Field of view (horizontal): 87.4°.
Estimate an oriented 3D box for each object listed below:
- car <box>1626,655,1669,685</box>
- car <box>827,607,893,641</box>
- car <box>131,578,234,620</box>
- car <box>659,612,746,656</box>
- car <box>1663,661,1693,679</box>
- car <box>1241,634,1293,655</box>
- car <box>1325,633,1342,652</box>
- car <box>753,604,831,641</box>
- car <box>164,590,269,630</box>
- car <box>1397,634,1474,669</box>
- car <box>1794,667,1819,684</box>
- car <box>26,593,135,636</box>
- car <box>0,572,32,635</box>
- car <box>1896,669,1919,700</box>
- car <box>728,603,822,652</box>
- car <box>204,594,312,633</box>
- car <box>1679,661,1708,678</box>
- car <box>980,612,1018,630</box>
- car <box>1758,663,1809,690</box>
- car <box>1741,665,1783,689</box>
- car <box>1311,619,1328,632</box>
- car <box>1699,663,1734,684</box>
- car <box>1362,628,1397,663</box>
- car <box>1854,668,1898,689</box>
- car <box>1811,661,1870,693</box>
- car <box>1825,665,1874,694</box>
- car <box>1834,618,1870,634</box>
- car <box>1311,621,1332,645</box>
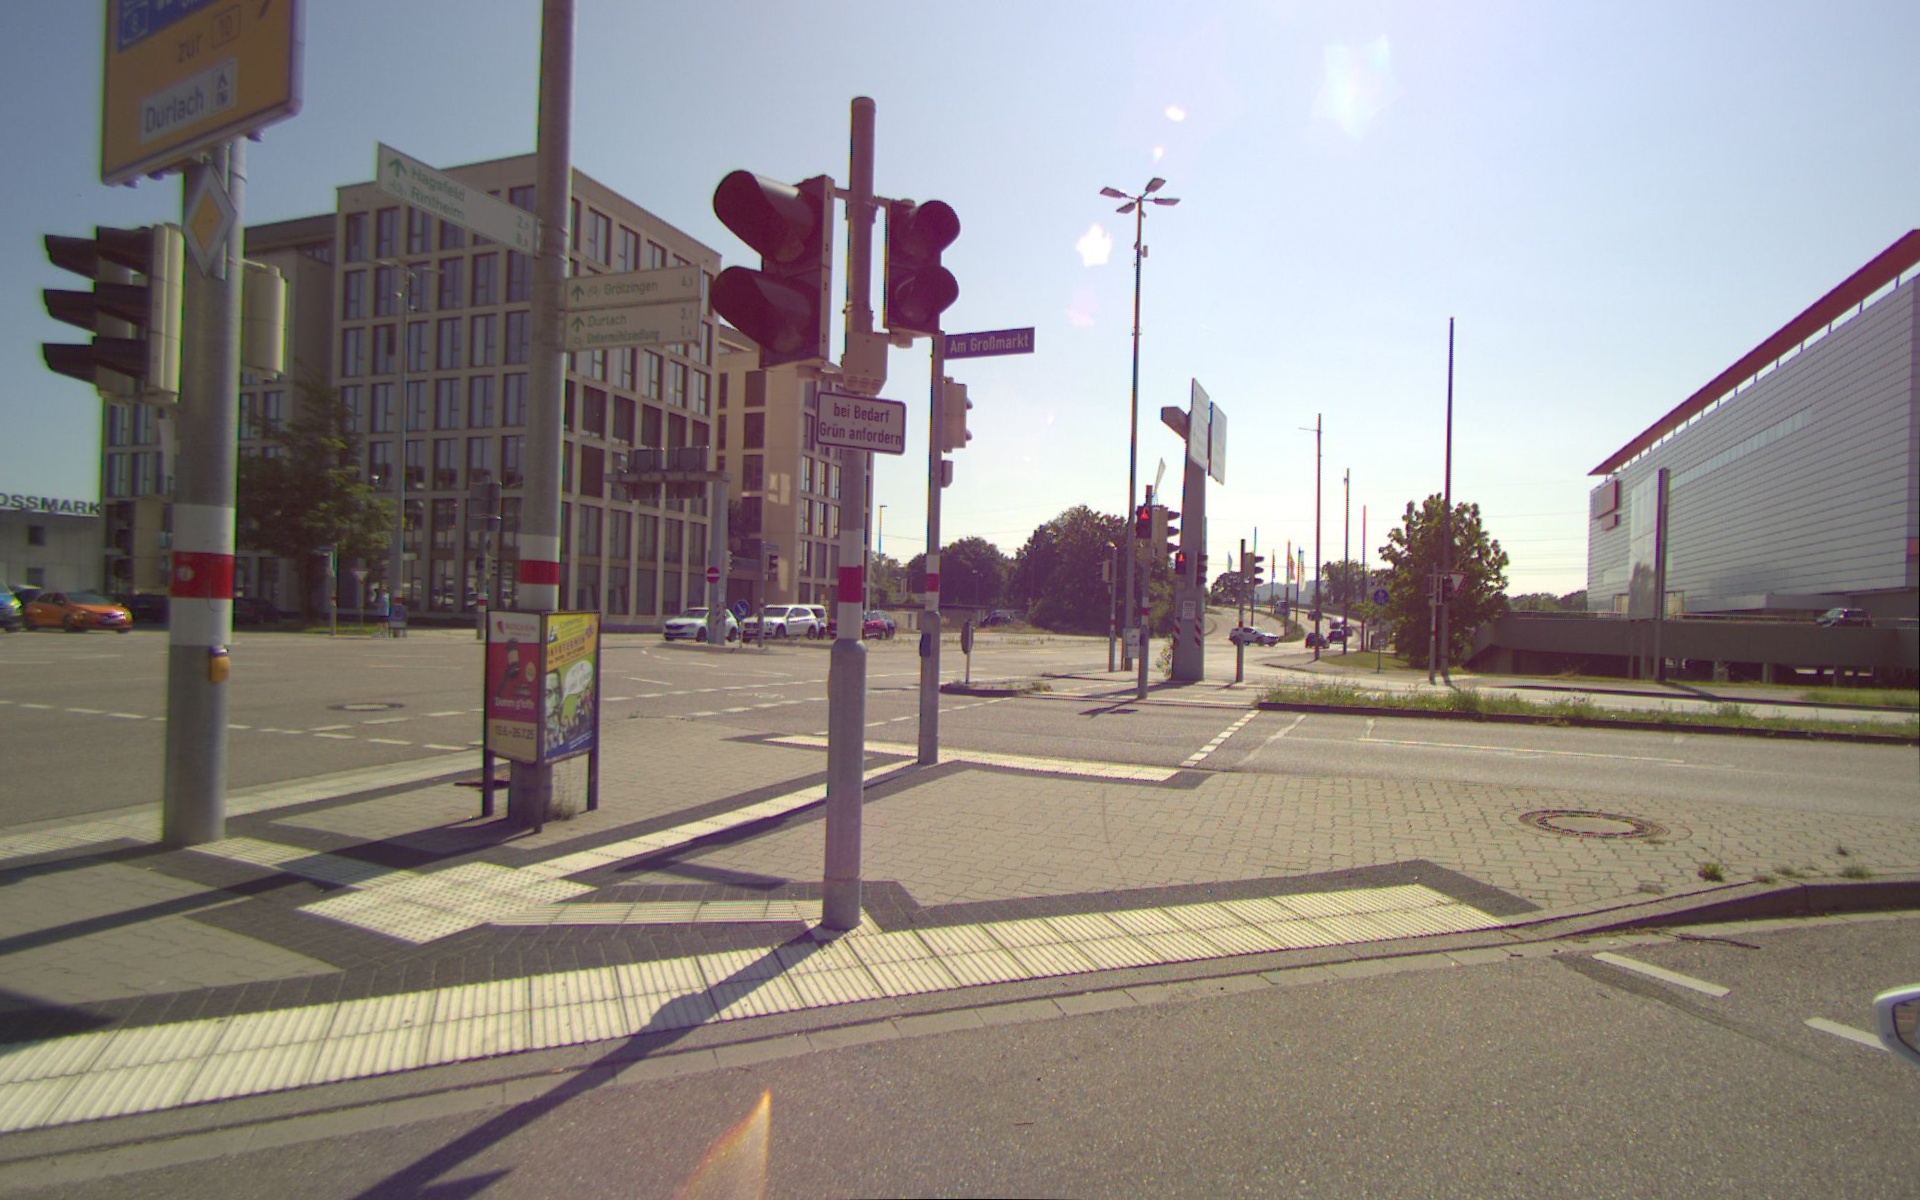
[{"bbox_3d":[26.040,2.650,38.084,0.872,0.988,1.943,2,0,20],"label":"car"},{"bbox_3d":[-4.794,1.187,48.915,1.501,1.548,4.120,1,-1,21],"label":"car"},{"bbox_3d":[-40.664,-0.024,52.564,1.972,2.040,3.977,0,-2,43],"label":"car"},{"bbox_3d":[-10.840,1.405,42.514,1.798,1.735,3.767,2,0,17],"label":"car"},{"bbox_3d":[45.986,4.480,64.394,1.050,0.988,1.943,2,0,20],"label":"car"},{"bbox_3d":[27.186,3.919,89.034,3.940,1.643,2.012,0,-1,40],"label":"car"},{"bbox_3d":[41.543,4.721,111.612,1.554,2.040,3.999,1,-1,23],"label":"car"},{"bbox_3d":[-8.205,1.117,49.472,1.867,1.734,4.231,1,-1,20],"label":"car"},{"bbox_3d":[-37.597,0.534,50.832,1.972,1.851,3.977,0,-2,43],"label":"car"},{"bbox_3d":[27.435,2.939,58.066,3.924,1.757,1.999,2,0,24],"label":"car"},{"bbox_3d":[51.742,4.601,61.419,0.741,0.940,1.290,2,0,20],"label":"car"},{"bbox_3d":[-29.995,0.485,34.244,3.798,1.382,1.736,1,-1,32],"label":"car"},{"bbox_3d":[-31.434,0.071,31.535,4.647,1.934,2.182,1,-1,32],"label":"car"},{"bbox_3d":[33.549,2.951,34.894,0.849,0.988,1.848,2,0,20],"label":"car"},{"bbox_3d":[-7.700,1.120,42.166,1.986,1.862,4.312,2,0,19],"label":"car"},{"bbox_3d":[-34.734,0.677,49.762,1.968,1.761,3.985,2,0,37],"label":"car"},{"bbox_3d":[48.715,4.595,66.741,1.050,0.988,1.943,2,0,20],"label":"car"},{"bbox_3d":[5.336,2.861,137.856,4.951,2.365,1.999,2,0,-2],"label":"car"},{"bbox_3d":[34.084,3.160,41.604,1.050,0.988,1.943,1,-1,21],"label":"car"},{"bbox_3d":[39.683,3.797,49.719,1.050,1.053,1.943,1,-1,20],"label":"car"},{"bbox_3d":[58.378,4.100,163.060,1.959,2.040,4.003,1,-1,10],"label":"car"},{"bbox_3d":[42.665,4.140,56.680,0.912,0.988,1.944,2,0,17],"label":"car"},{"bbox_3d":[29.784,3.194,71.294,1.963,2.327,4.028,2,0,27],"label":"car"},{"bbox_3d":[49.182,4.208,53.945,1.050,0.988,1.943,2,0,20],"label":"car"},{"bbox_3d":[31.516,2.733,35.994,1.051,1.021,1.942,1,-1,24],"label":"car"},{"bbox_3d":[36.019,3.209,40.705,0.870,0.988,1.942,2,0,23],"label":"car"},{"bbox_3d":[56.660,1.636,63.832,1.050,0.988,1.943,2,0,20],"label":"car"},{"bbox_3d":[32.953,2.990,91.511,1.605,2.040,3.999,1,-1,23],"label":"car"}]
